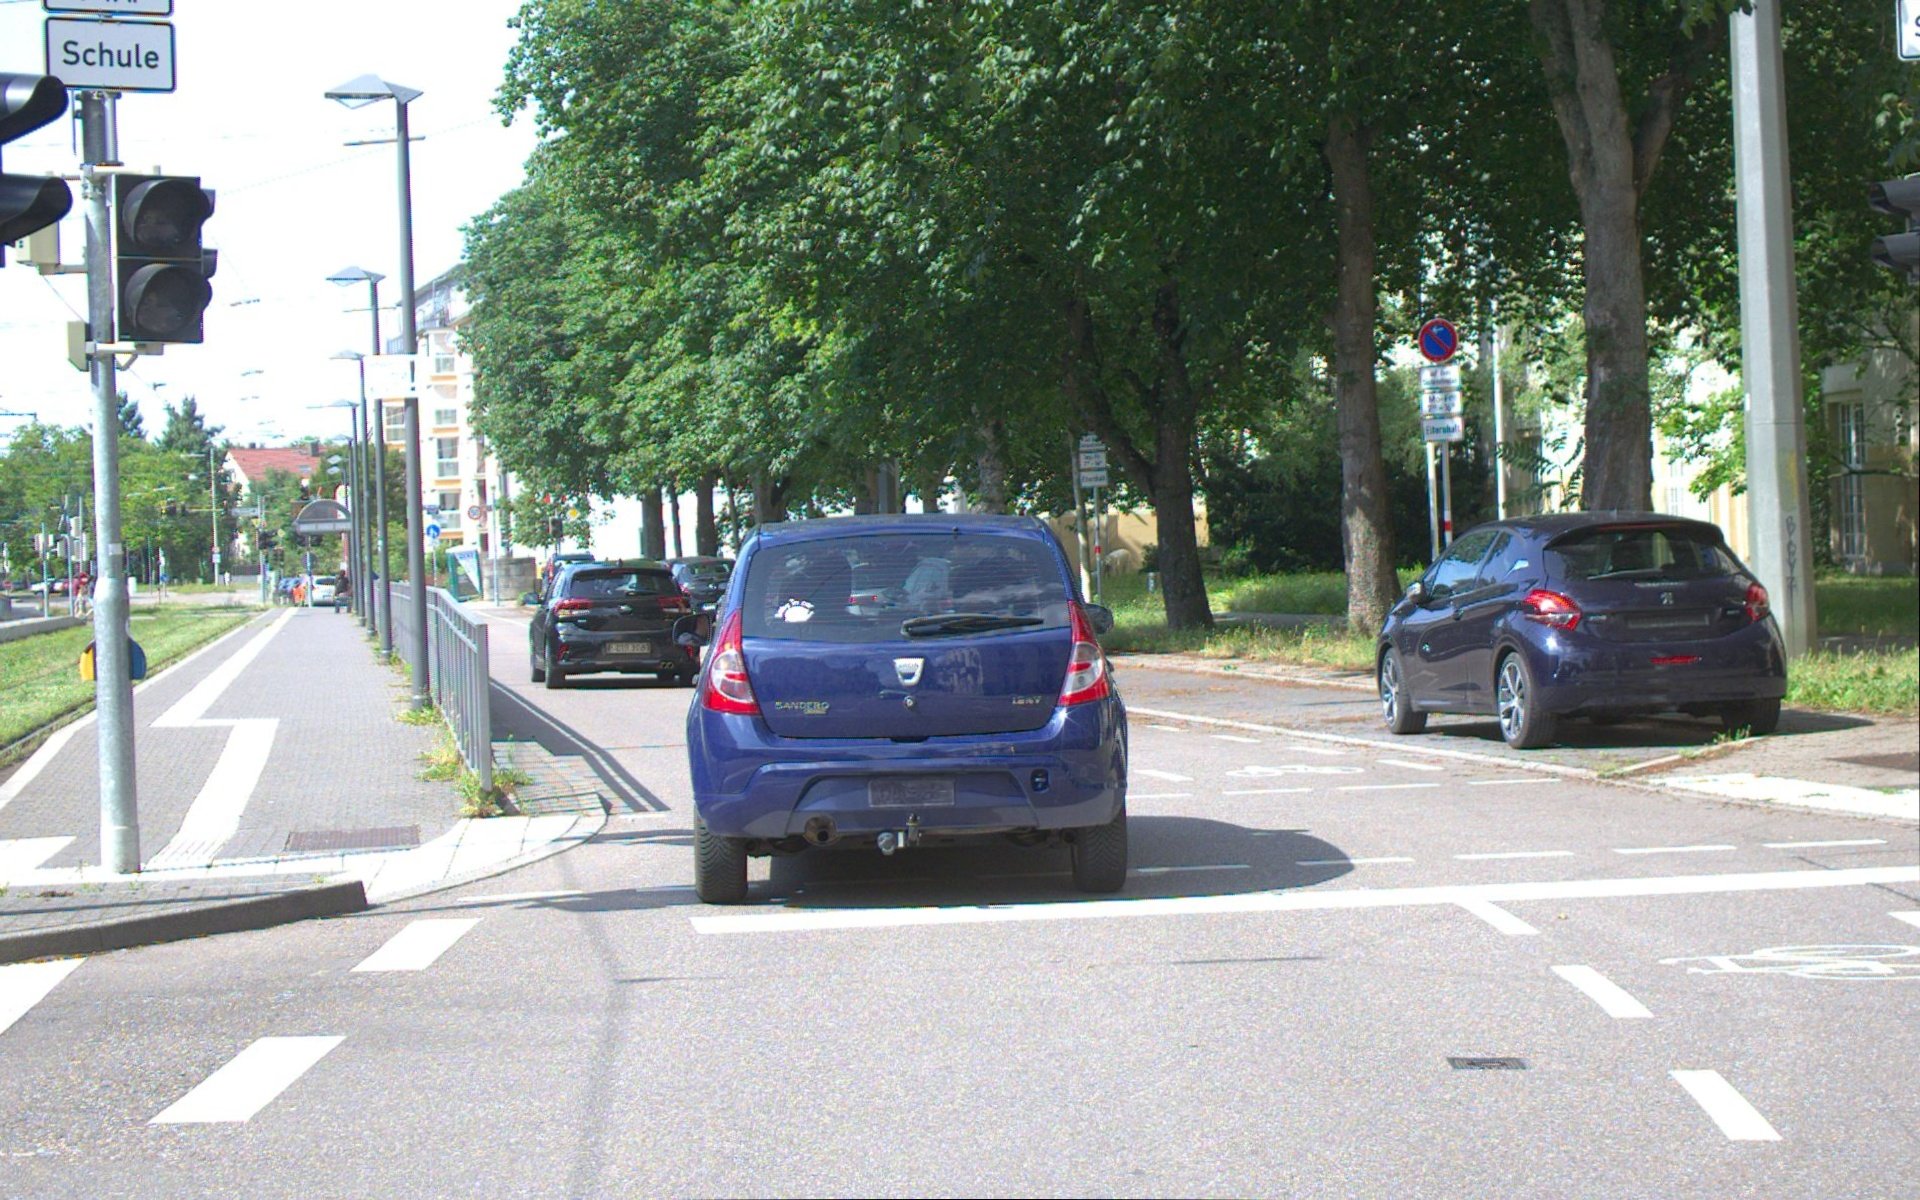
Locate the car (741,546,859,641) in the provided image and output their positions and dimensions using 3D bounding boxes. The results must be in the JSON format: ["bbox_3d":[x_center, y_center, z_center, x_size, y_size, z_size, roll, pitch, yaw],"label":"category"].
[{"bbox_3d":[-2.794,-0.140,59.332,1.851,1.510,4.001,-2,1,-4],"label":"car"}]

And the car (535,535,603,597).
[{"bbox_3d":[-11.809,-1.043,104.091,1.830,1.755,4.001,-2,1,-4],"label":"car"}]

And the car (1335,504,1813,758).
[{"bbox_3d":[3.912,0.161,22.574,1.765,1.428,3.905,-3,1,-10],"label":"car"}]

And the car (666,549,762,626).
[{"bbox_3d":[-5.138,-0.280,71.686,1.861,1.440,4.001,-3,1,-4],"label":"car"}]

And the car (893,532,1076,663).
[{"bbox_3d":[0.256,-0.061,42.779,1.861,1.440,4.001,-4,1,-4],"label":"car"}]

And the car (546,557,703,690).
[{"bbox_3d":[-3.857,0.240,39.610,1.699,1.363,3.515,-1,2,-5],"label":"car"}]

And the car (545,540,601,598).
[{"bbox_3d":[-12.393,-1.012,110.179,1.667,1.766,4.001,-2,1,-6],"label":"car"}]

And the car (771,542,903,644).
[{"bbox_3d":[-1.990,-0.145,54.589,1.861,1.440,4.001,-4,1,-4],"label":"car"}]

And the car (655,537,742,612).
[{"bbox_3d":[-5.863,-0.591,77.186,1.827,1.532,4.001,-3,1,-4],"label":"car"}]

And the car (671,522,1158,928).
[{"bbox_3d":[-0.196,0.428,14.636,1.768,1.457,3.776,-2,1,-1],"label":"car"}]
